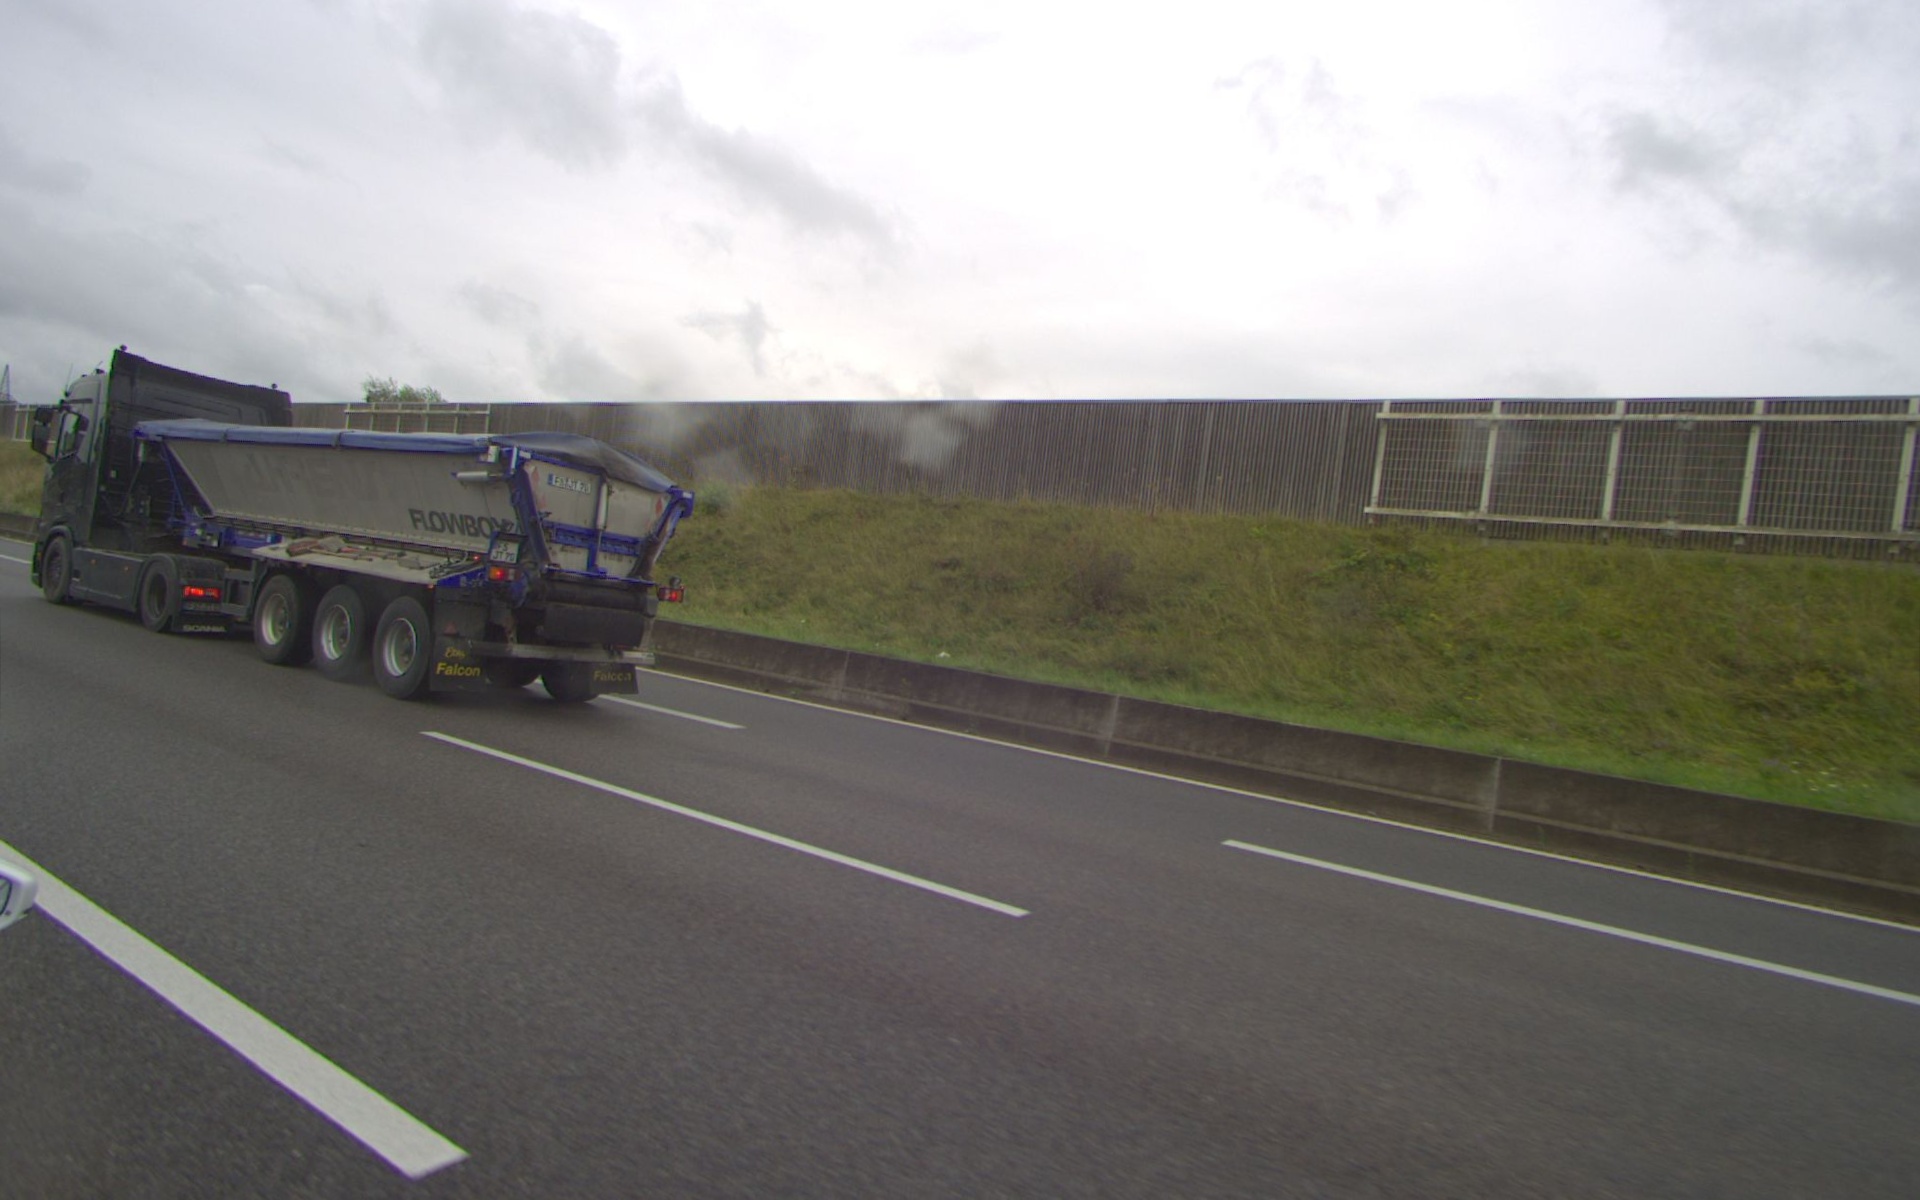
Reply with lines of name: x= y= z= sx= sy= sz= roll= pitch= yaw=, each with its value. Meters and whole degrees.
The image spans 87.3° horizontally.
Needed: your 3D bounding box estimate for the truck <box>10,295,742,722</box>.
truck: x=-8.796 y=-1.324 z=13.846 sx=12.503 sy=3.996 sz=2.818 roll=7 pitch=-1 yaw=32
